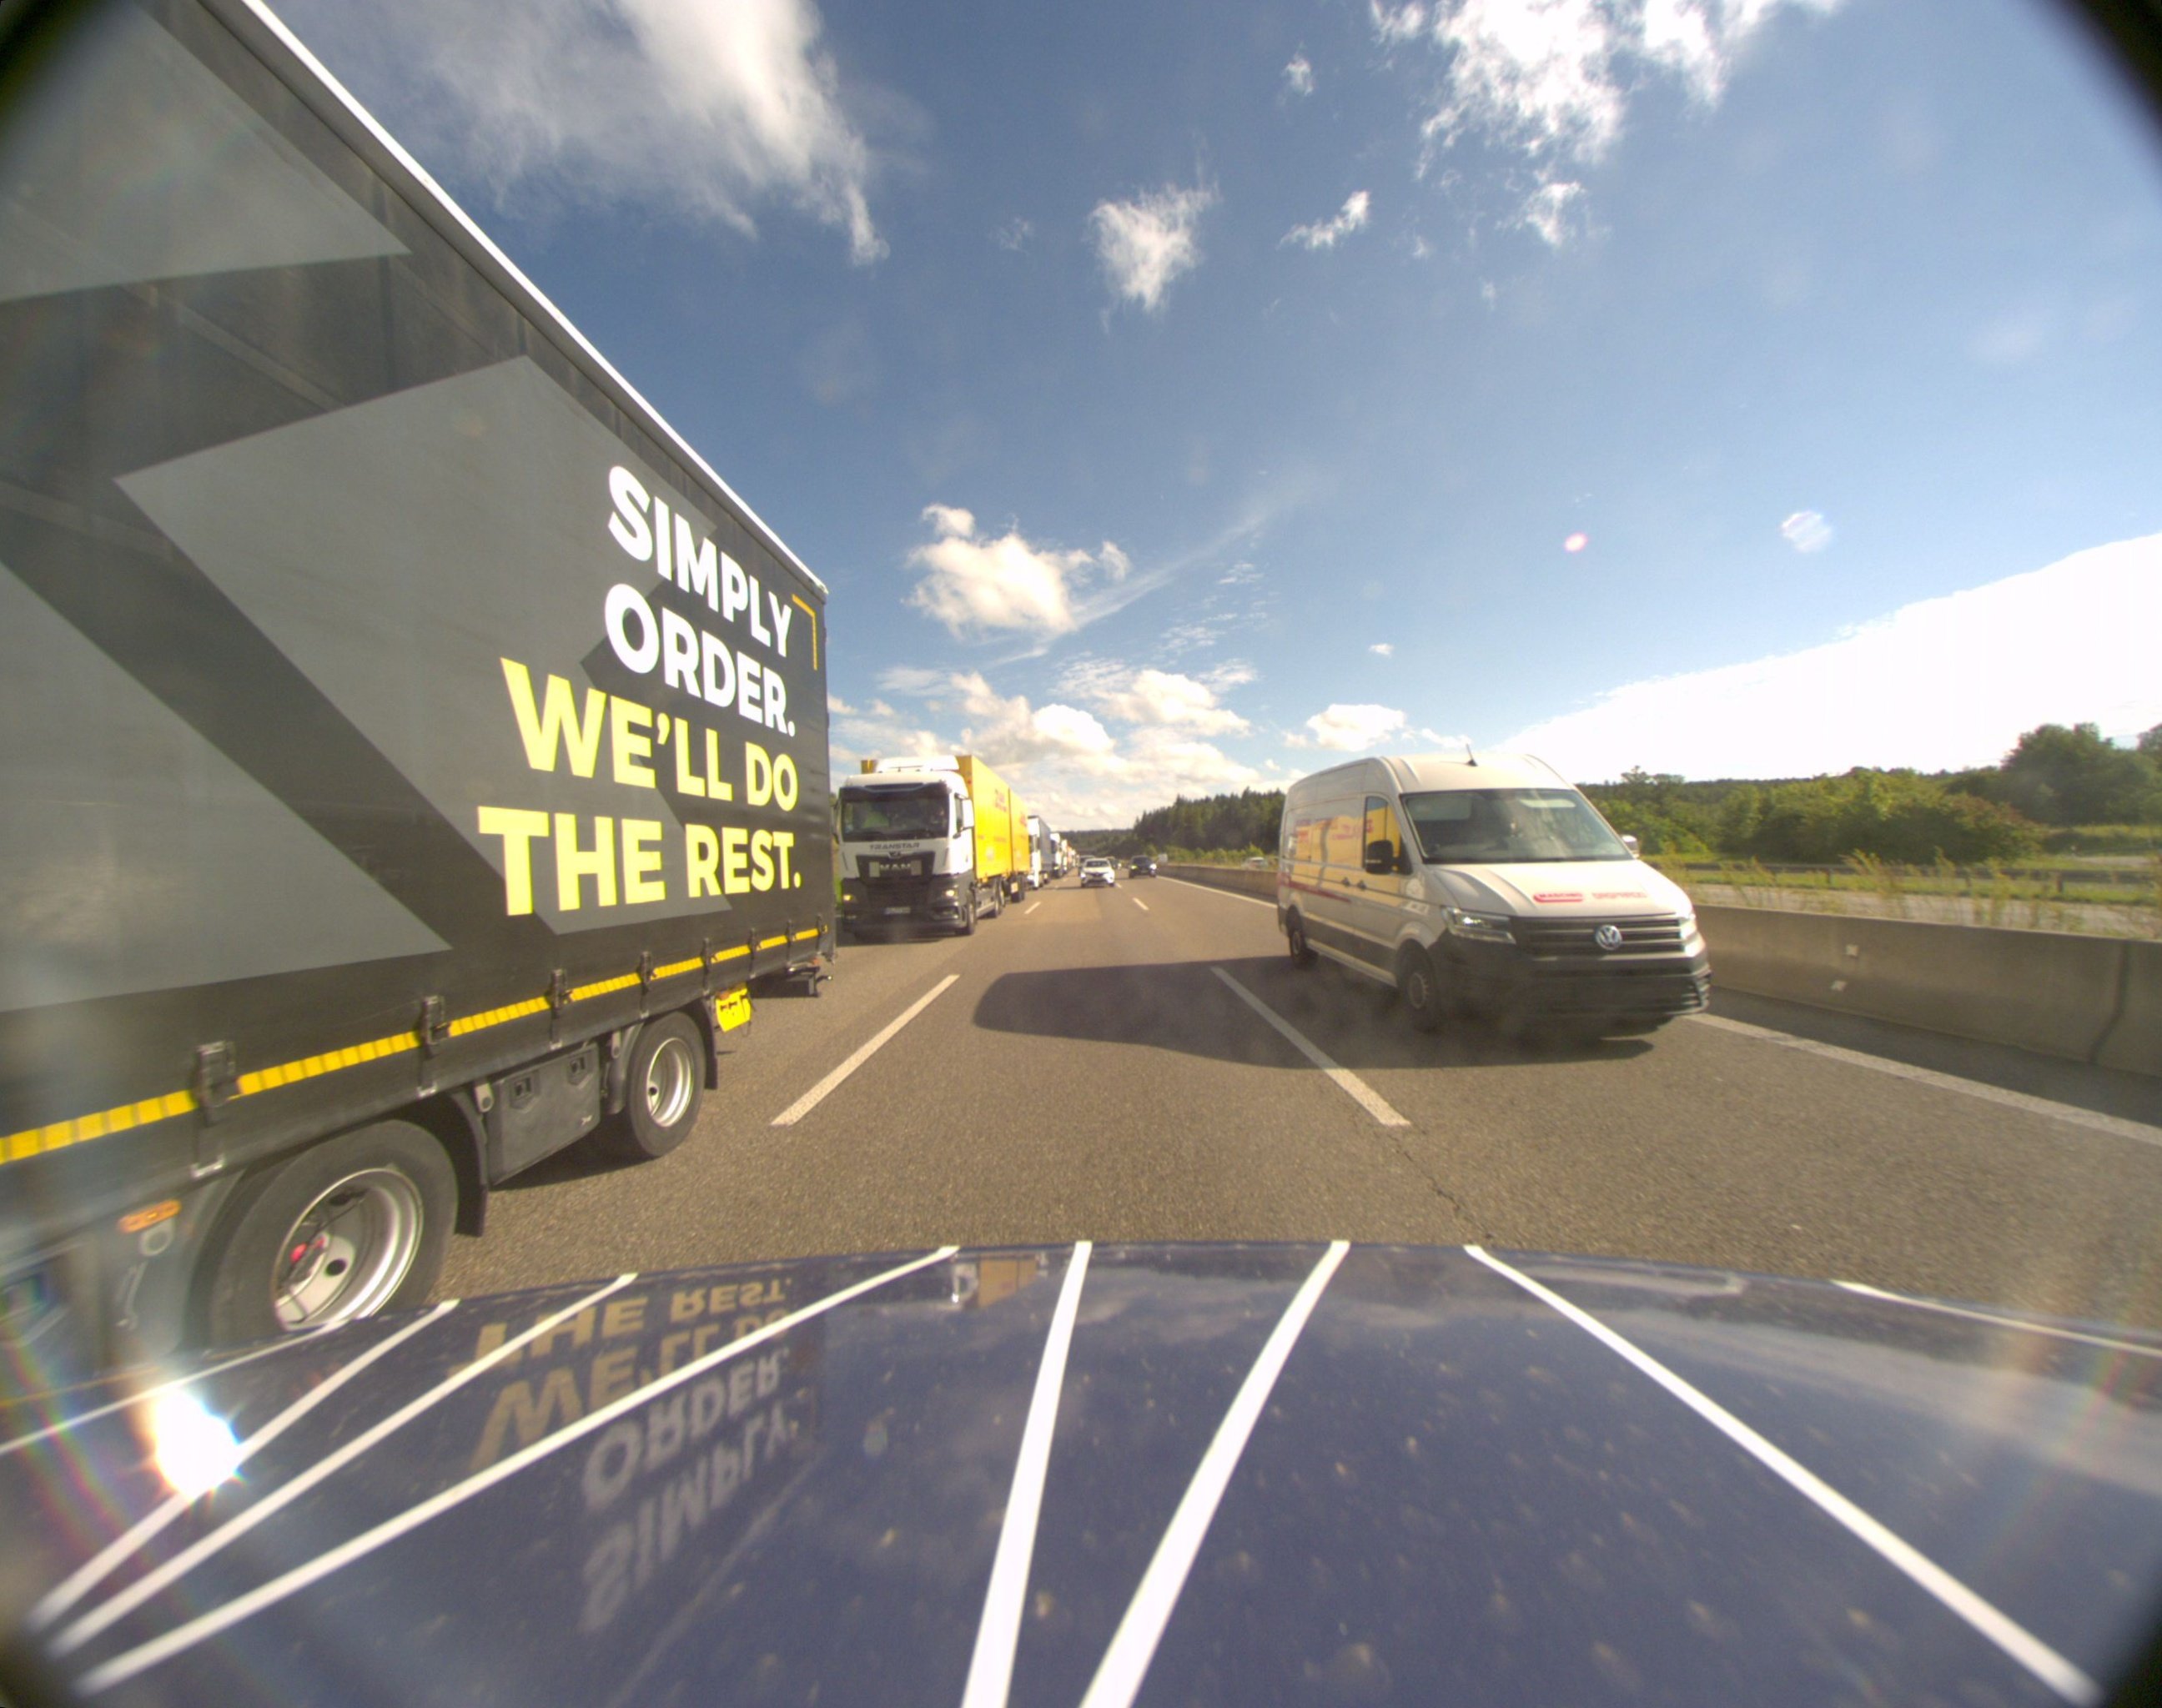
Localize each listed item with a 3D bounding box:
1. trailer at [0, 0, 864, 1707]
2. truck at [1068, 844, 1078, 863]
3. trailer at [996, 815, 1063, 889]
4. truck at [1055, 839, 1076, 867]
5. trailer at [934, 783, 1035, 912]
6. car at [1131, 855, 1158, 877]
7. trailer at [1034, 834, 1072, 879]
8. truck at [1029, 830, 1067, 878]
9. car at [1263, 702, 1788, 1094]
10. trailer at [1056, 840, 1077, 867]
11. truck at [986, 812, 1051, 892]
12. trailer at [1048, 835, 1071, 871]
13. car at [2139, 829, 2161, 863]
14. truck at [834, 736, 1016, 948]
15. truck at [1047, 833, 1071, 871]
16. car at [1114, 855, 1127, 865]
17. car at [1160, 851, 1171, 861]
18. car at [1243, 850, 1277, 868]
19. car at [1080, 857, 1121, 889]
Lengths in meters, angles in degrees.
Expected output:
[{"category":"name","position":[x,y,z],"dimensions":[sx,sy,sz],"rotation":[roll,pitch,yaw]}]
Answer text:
[{"category":"trailer","position":[-3.447,-0.194,2.371],"dimensions":[2.723,3.937,8.711],"rotation":[-3,0,1]},{"category":"truck","position":[-1.738,-0.173,171.008],"dimensions":[1.998,3.998,7.344],"rotation":[-3,0,0]},{"category":"trailer","position":[-3.121,-0.173,50.305],"dimensions":[2.648,4.074,13.981],"rotation":[-3,0,2]},{"category":"truck","position":[-2.299,-0.125,113.466],"dimensions":[2.634,3.959,5.956],"rotation":[-3,0,1]},{"category":"trailer","position":[-3.412,-0.205,29.109],"dimensions":[2.418,4.044,8.926],"rotation":[-3,0,0]},{"category":"car","position":[4.714,0.890,56.584],"dimensions":[1.779,1.533,4.158],"rotation":[0,0,1]},{"category":"trailer","position":[-2.631,0.347,74.567],"dimensions":[2.652,3.910,11.179],"rotation":[-4,-1,2]},{"category":"truck","position":[-2.854,0.079,67.615],"dimensions":[2.655,3.900,6.945],"rotation":[-4,-2,2]},{"category":"car","position":[3.737,0.326,8.213],"dimensions":[2.020,2.583,6.182],"rotation":[-2,0,0]},{"category":"trailer","position":[-2.193,-0.122,121.202],"dimensions":[2.624,3.977,13.366],"rotation":[-3,0,1]},{"category":"truck","position":[-3.420,-0.140,43.395],"dimensions":[2.654,4.065,6.492],"rotation":[-3,0,2]},{"category":"trailer","position":[-2.555,-0.015,94.188],"dimensions":[2.334,3.973,14.300],"rotation":[-2,-1,0]},{"category":"car","position":[63.165,-0.484,43.482],"dimensions":[1.995,1.789,4.986],"rotation":[-3,1,42]},{"category":"truck","position":[-3.490,-0.222,19.795],"dimensions":[2.418,4.044,9.664],"rotation":[-3,0,0]},{"category":"truck","position":[-2.496,-0.160,86.504],"dimensions":[2.371,3.996,6.107],"rotation":[-3,-1,0]},{"category":"car","position":[5.586,0.831,107.984],"dimensions":[1.779,1.451,4.158],"rotation":[0,0,1]},{"category":"car","position":[21.297,0.462,191.937],"dimensions":[2.038,2.563,7.321],"rotation":[-3,0,0]},{"category":"car","position":[16.270,0.444,69.336],"dimensions":[1.923,1.468,4.934],"rotation":[-3,0,0]},{"category":"car","position":[1.091,0.979,41.536],"dimensions":[2.026,1.510,5.299],"rotation":[-4,0,2]}]
